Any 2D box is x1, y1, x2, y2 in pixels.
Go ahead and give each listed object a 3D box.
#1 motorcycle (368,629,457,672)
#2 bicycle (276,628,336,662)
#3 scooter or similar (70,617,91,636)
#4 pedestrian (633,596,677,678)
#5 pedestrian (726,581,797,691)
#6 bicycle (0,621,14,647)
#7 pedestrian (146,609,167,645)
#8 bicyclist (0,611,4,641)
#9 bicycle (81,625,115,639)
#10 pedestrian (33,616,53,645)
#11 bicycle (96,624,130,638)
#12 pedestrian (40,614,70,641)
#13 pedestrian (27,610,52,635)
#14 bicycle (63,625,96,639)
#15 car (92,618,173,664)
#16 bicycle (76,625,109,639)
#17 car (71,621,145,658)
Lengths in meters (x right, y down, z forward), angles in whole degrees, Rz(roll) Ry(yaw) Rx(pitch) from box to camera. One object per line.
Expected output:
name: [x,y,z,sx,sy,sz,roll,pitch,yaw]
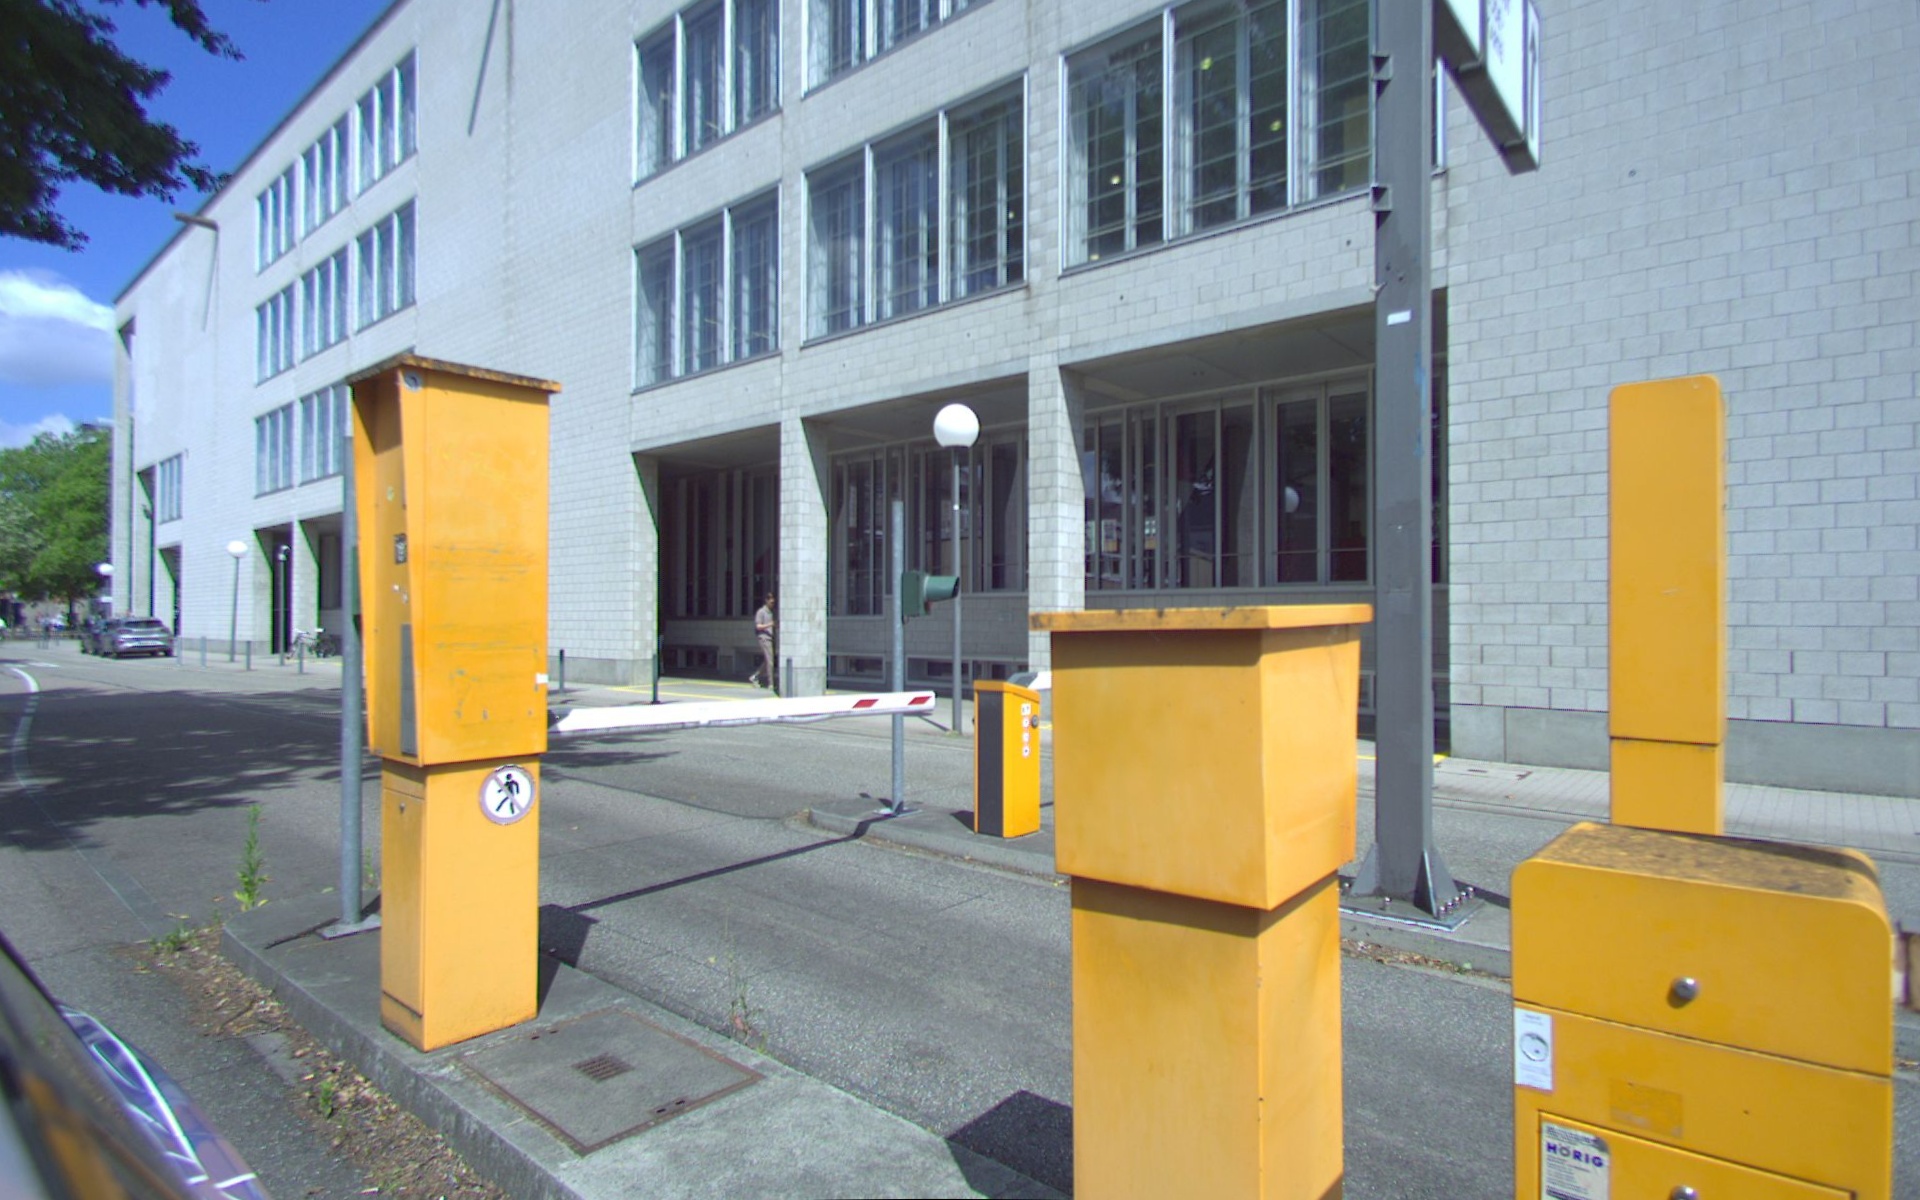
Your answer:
motorcycle: [-15.486,1.405,28.688,0.772,1.146,2.150,-1,-2,31]
bicycle: [-22.400,1.530,34.690,0.607,1.095,1.624,-1,-1,35]
scooter or similar: [-57.657,1.756,66.363,0.702,1.200,1.620,0,0,-27]
pedestrian: [-7.166,0.855,23.761,0.719,1.895,0.723,-1,-1,41]
pedestrian: [-3.785,0.676,19.271,1.065,2.029,0.839,-1,-2,39]
bicycle: [-57.309,2.027,59.928,1.905,1.505,0.640,0,-1,-7]
pedestrian: [-45.952,1.518,57.873,1.080,2.029,0.745,-1,-1,41]
bicyclist: [-57.261,1.555,59.932,0.686,1.778,0.610,0,-1,-7]
bicycle: [-69.302,2.537,81.391,0.676,1.066,2.117,0,0,11]
pedestrian: [-57.071,1.917,62.997,0.749,1.738,1.237,-2,1,-38]
bicycle: [-67.676,2.490,80.867,0.676,1.066,2.117,0,0,11]
pedestrian: [-63.048,1.909,70.510,1.368,1.838,1.382,-1,-1,40]
pedestrian: [-75.747,1.857,83.243,1.368,2.029,1.382,-1,-1,40]
bicycle: [-71.333,2.578,82.019,0.616,1.066,2.117,0,0,11]
car: [-31.508,1.500,38.502,4.404,1.546,1.708,0,1,42]
bicycle: [-70.011,2.549,81.671,0.616,1.066,2.117,0,0,11]
car: [-35.495,1.606,42.105,4.663,1.433,1.708,-1,-1,42]
